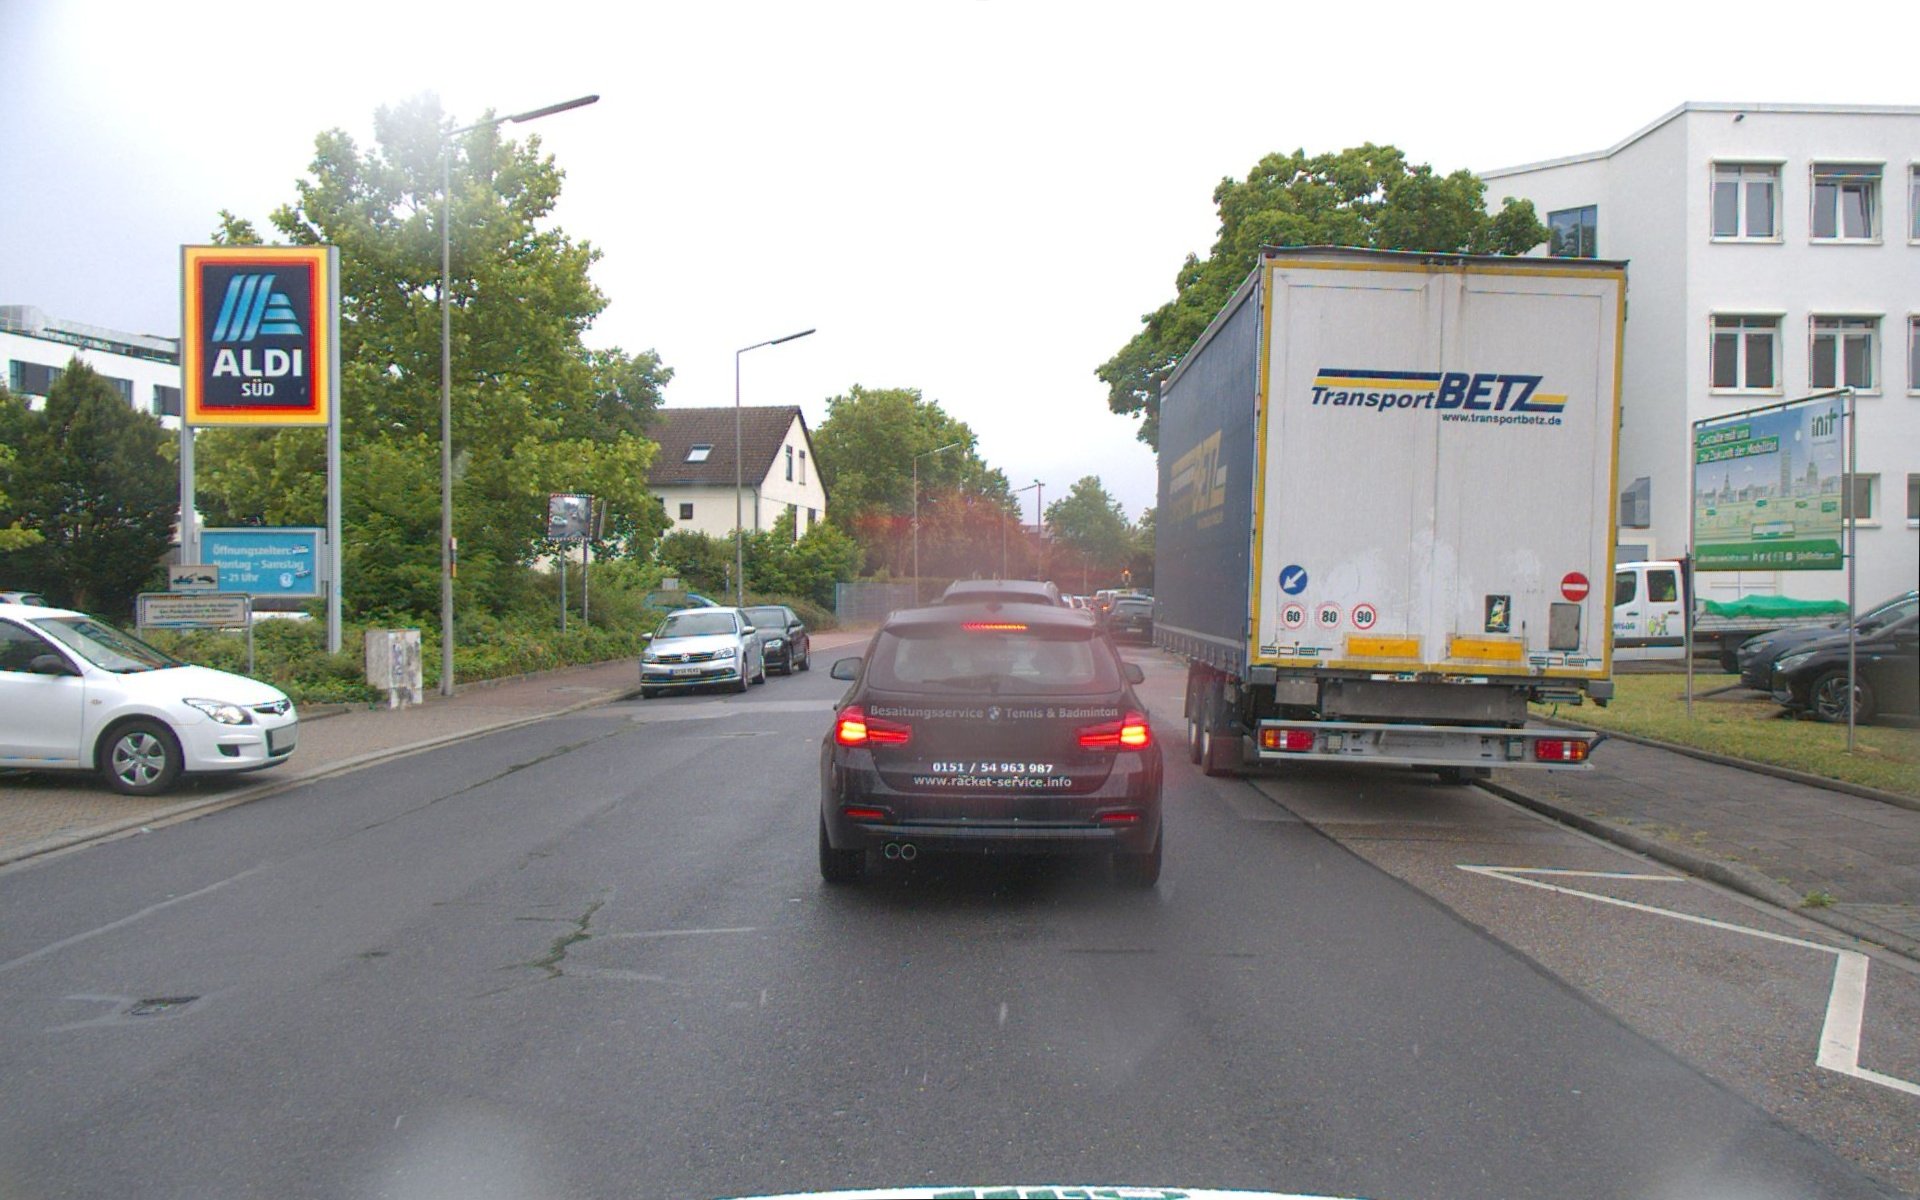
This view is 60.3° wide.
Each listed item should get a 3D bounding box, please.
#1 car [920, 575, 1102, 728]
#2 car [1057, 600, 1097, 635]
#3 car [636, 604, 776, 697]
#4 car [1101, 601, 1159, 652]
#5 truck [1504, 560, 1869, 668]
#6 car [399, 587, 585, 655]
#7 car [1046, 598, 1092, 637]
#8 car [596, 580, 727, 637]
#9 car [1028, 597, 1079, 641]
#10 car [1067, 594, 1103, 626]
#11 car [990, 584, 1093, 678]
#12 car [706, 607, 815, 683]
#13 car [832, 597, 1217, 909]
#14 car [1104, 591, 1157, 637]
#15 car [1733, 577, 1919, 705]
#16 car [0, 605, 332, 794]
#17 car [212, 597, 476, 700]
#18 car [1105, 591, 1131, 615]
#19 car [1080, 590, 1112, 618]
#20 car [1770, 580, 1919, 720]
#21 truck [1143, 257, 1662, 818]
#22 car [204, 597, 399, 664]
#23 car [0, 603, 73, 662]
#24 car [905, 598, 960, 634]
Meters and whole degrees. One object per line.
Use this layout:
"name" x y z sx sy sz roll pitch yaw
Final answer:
"car" 0.498 0.561 19.536 1.768 1.614 3.997 1 0 -4
"car" 5.674 0.848 79.816 1.766 1.614 4.002 1 0 6
"car" -4.337 0.809 28.860 1.671 1.391 4.601 -3 0 0
"car" 5.611 0.849 54.954 1.766 1.614 4.002 1 0 4
"truck" 15.149 0.274 34.741 6.782 2.177 2.094 0 0 -1
"car" -11.128 0.488 39.557 3.906 1.567 1.910 0 0 -1
"car" 4.632 0.729 69.732 1.766 1.614 4.002 1 0 6
"car" -9.572 0.273 53.187 3.745 1.622 1.712 -3 0 4
"car" 3.598 0.731 63.151 1.766 1.614 4.002 1 0 6
"car" 6.676 0.529 88.045 1.766 1.614 4.002 1 0 6
"car" 1.543 0.555 30.709 1.766 1.614 4.002 1 0 4
"car" -4.113 0.901 34.684 1.670 1.391 3.839 -3 0 1
"car" 0.178 0.719 9.609 1.768 1.419 3.997 1 0 -4
"car" 6.185 0.505 60.477 1.766 1.614 4.002 1 0 4
"car" 11.877 0.495 20.274 4.072 1.440 1.683 2 3 39
"car" -7.708 0.799 14.034 4.108 1.485 1.711 1 0 -5
"car" -9.696 0.742 26.238 3.497 1.485 1.712 2 0 -1
"car" 10.908 0.177 113.916 1.766 1.614 4.003 0 0 6
"car" 7.919 0.209 96.320 1.766 1.614 4.003 0 0 6
"car" 11.013 0.576 17.931 3.709 1.421 1.719 3 2 38
"truck" 3.404 -0.424 15.008 2.684 3.674 7.751 2 0 1
"car" -15.730 0.708 39.674 3.906 1.567 1.910 0 0 -1
"car" -26.150 0.865 44.111 3.905 1.526 2.000 0 0 0
"car" -1.154 0.658 71.291 1.669 1.391 3.841 -3 0 9
